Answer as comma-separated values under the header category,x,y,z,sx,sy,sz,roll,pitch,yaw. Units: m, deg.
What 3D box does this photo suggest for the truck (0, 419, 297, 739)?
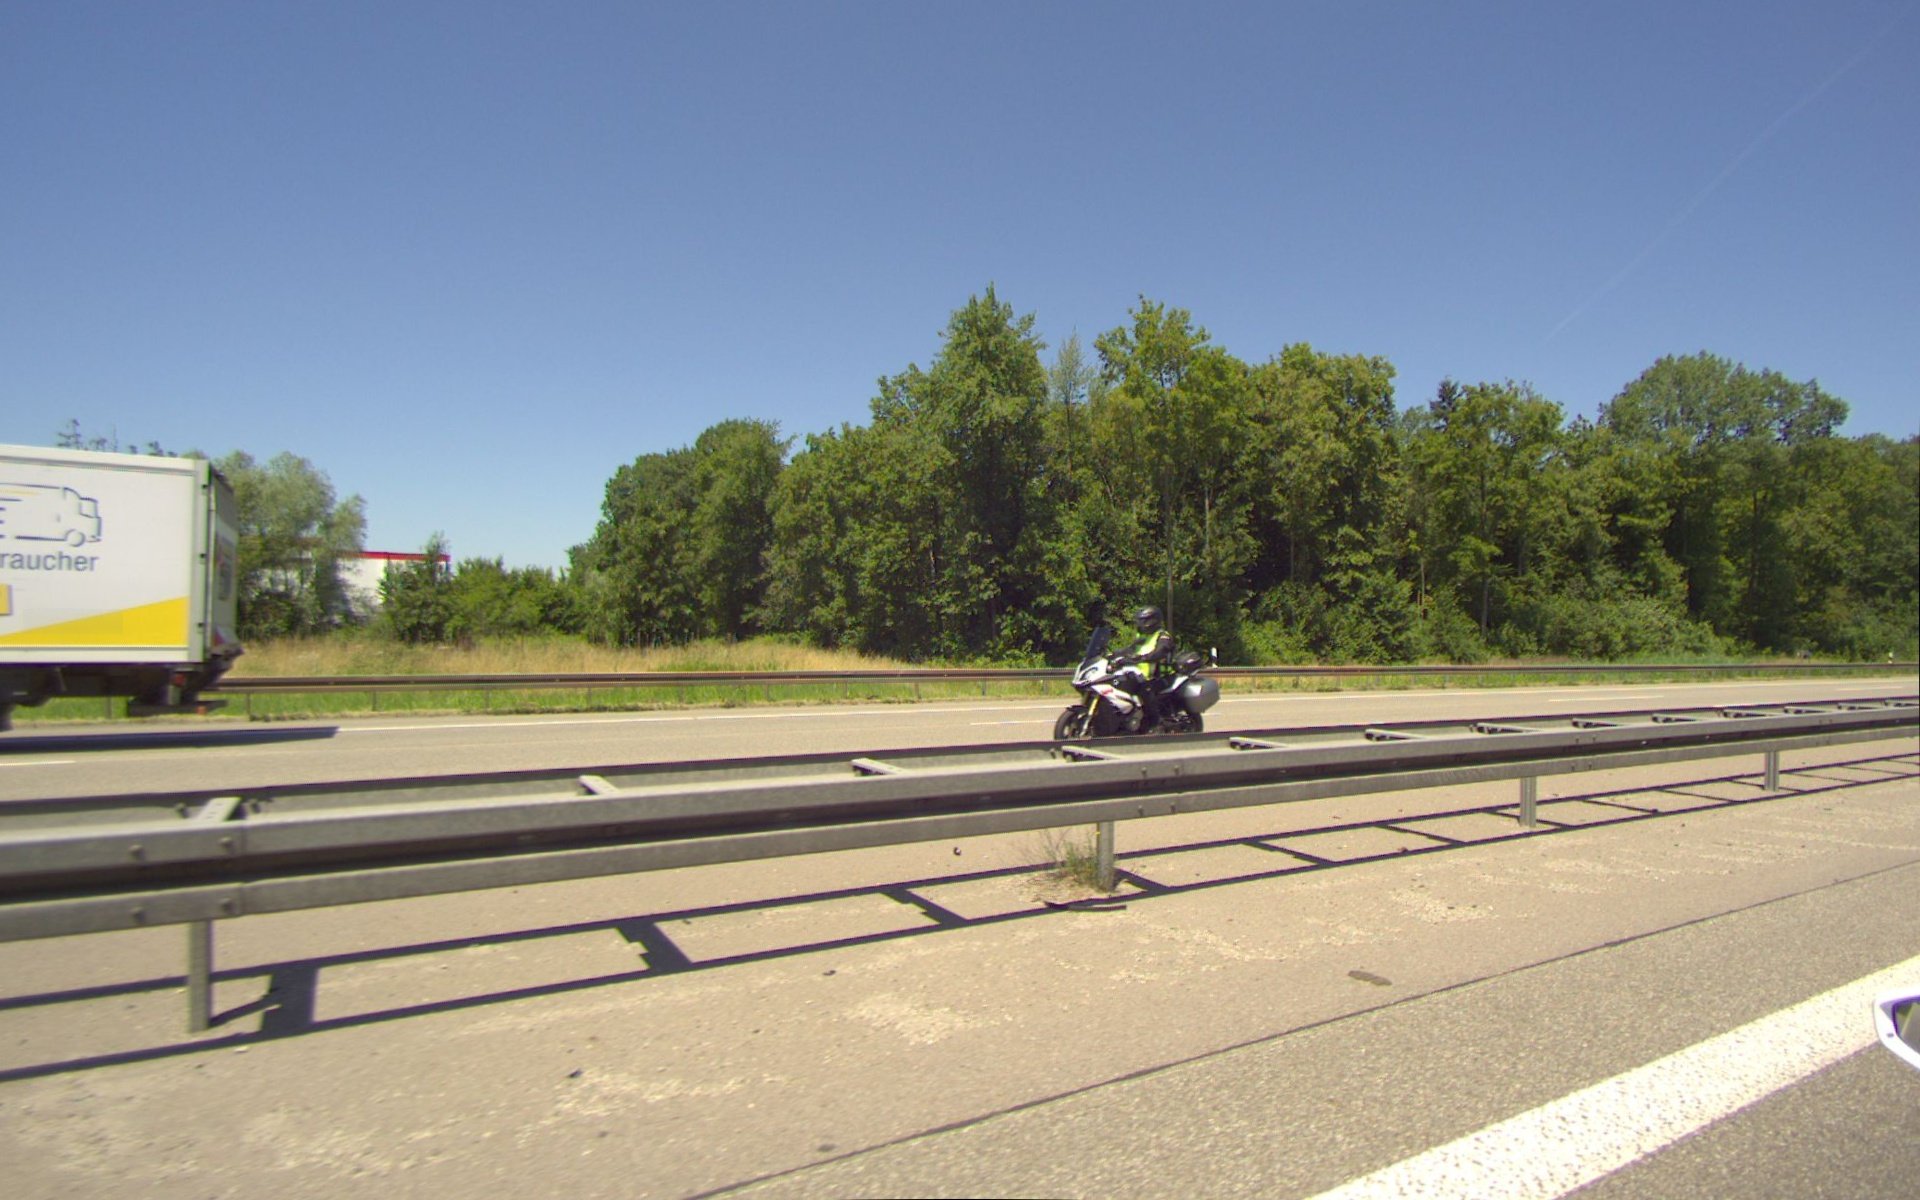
category,x,y,z,sx,sy,sz,roll,pitch,yaw
truck,-13.864,-0.326,11.527,10.151,3.667,2.979,2,0,-31

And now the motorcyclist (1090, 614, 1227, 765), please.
category,x,y,z,sx,sy,sz,roll,pitch,yaw
motorcyclist,2.297,0.999,11.679,1.138,1.621,1.036,2,0,-30

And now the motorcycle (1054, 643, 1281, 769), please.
category,x,y,z,sx,sy,sz,roll,pitch,yaw
motorcycle,2.450,1.182,11.750,2.547,1.284,1.029,2,0,-30
